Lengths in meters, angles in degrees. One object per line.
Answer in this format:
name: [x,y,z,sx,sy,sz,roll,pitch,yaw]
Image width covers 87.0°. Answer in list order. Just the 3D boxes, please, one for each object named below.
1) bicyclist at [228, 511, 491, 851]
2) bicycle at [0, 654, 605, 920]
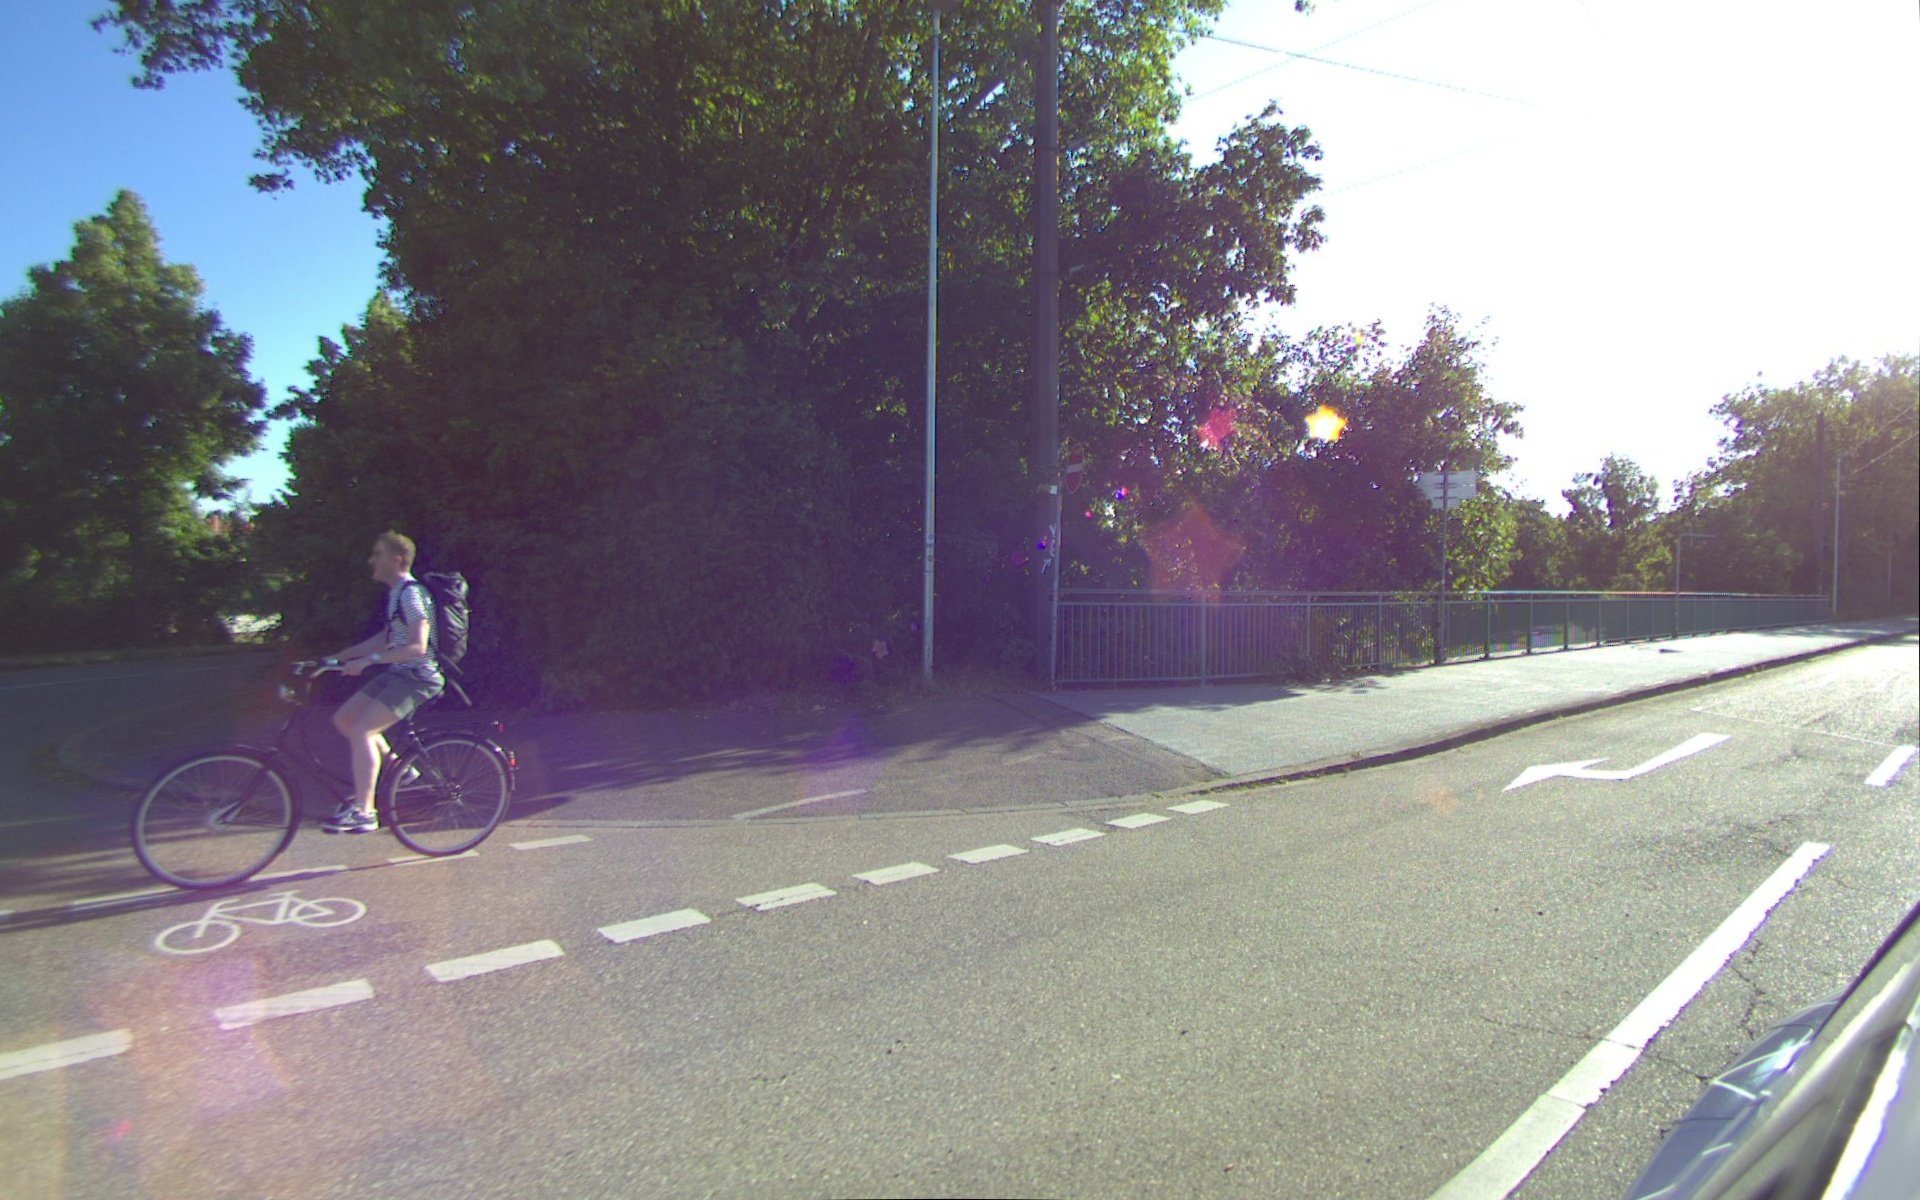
bicyclist: [-3.403,0.423,5.761,1.180,1.711,0.732,2,-3,-38]
bicycle: [-3.466,0.897,5.669,2.692,1.137,0.732,1,-3,-38]
